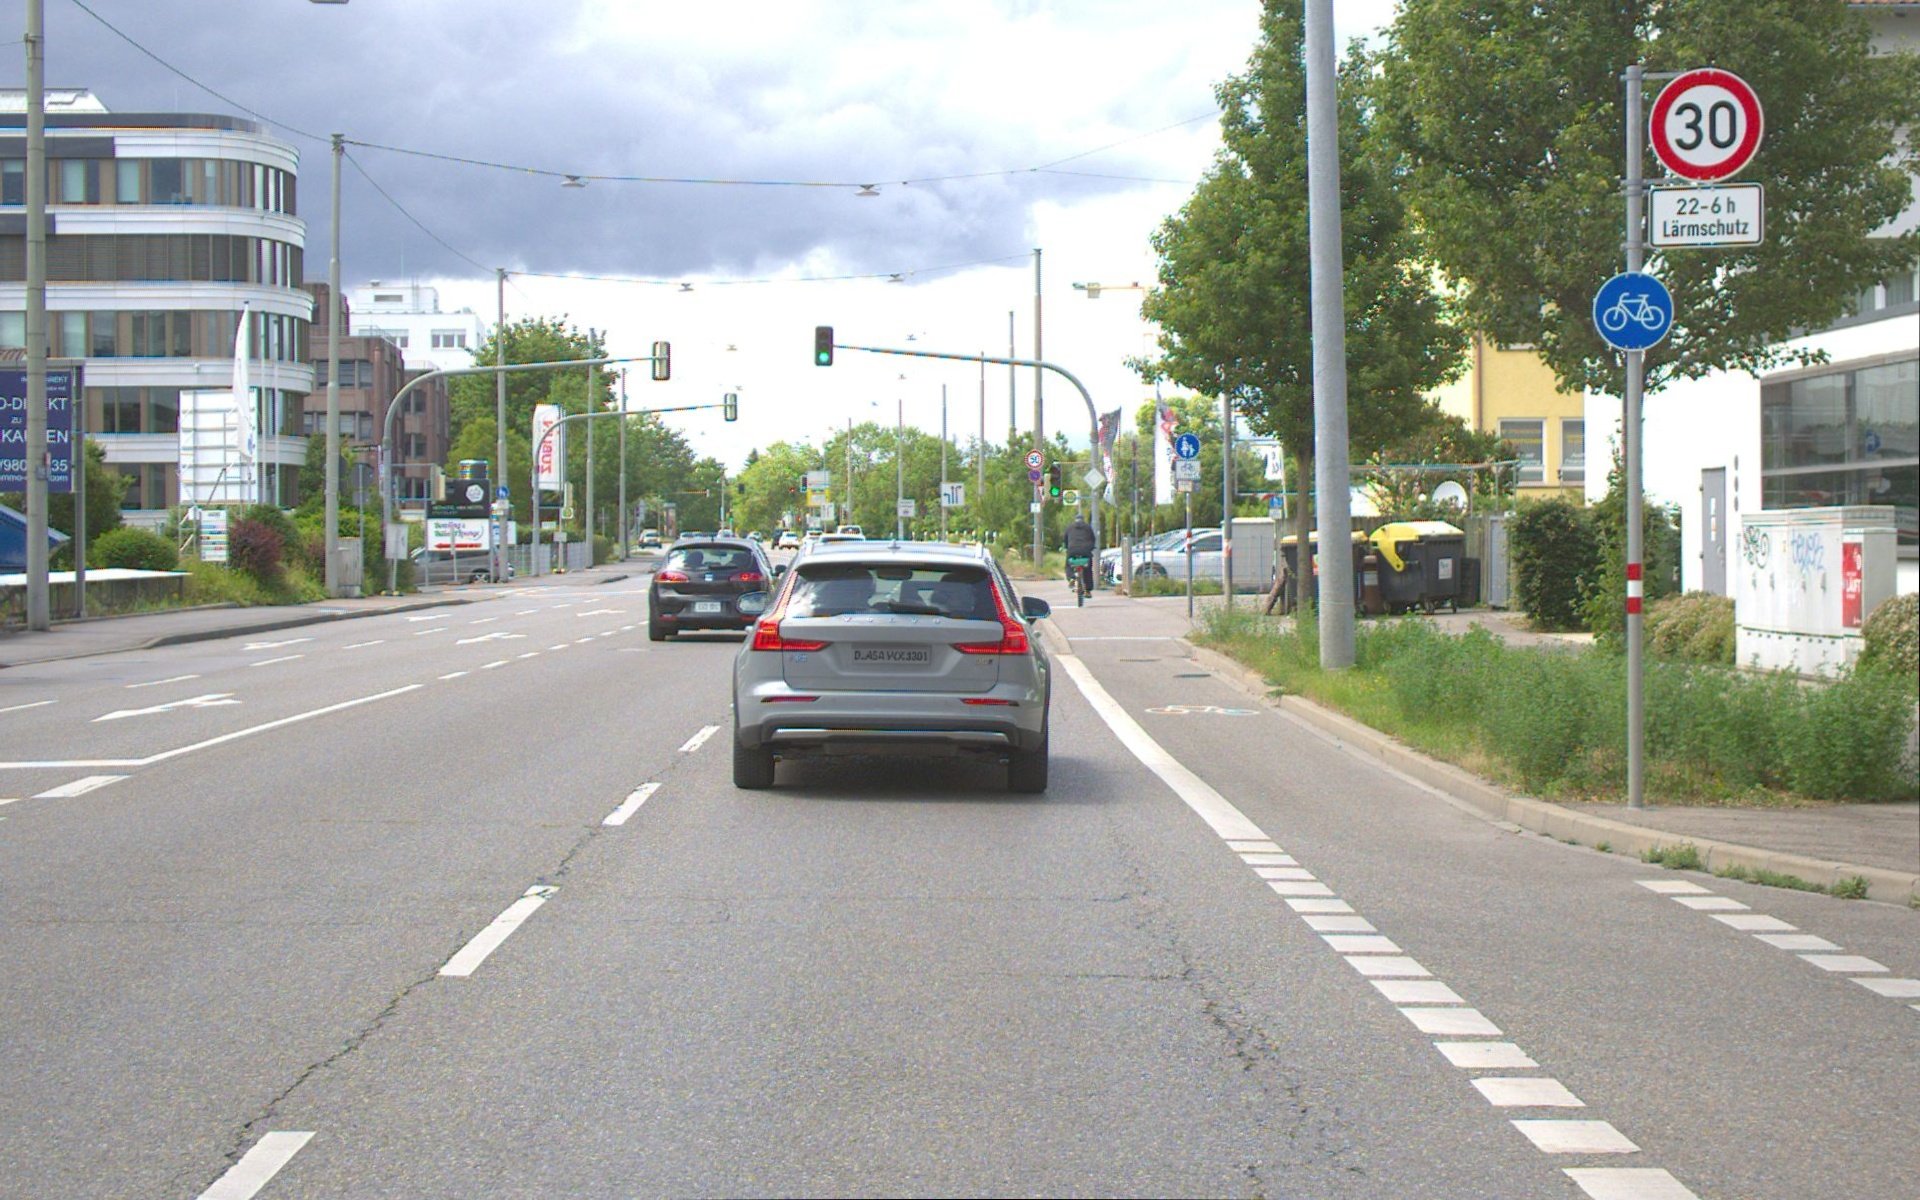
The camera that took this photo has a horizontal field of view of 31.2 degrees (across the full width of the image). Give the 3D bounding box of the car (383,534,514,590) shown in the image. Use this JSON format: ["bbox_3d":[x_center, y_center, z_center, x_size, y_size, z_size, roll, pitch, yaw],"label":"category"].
[{"bbox_3d":[-16.835,-1.259,113.267,4.092,1.393,1.909,-6,2,-7],"label":"car"}]

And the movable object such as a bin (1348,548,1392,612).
[{"bbox_3d":[6.509,-0.317,54.625,0.567,1.023,0.405,0,0,37],"label":"movable object such as a bin"}]

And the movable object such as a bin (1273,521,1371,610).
[{"bbox_3d":[5.648,-0.524,53.519,1.320,1.356,1.250,0,0,16],"label":"movable object such as a bin"}]

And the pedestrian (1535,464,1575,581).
[{"bbox_3d":[9.057,-1.180,52.304,0.507,1.759,0.500,2,0,16],"label":"pedestrian"}]

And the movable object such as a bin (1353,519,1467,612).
[{"bbox_3d":[7.050,-0.524,53.813,1.322,1.430,1.248,0,0,37],"label":"movable object such as a bin"}]

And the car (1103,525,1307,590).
[{"bbox_3d":[5.849,-1.036,82.572,4.696,1.488,2.046,1,2,-1],"label":"car"}]

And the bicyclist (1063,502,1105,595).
[{"bbox_3d":[2.304,-0.959,63.813,0.638,1.670,0.890,-4,1,0],"label":"bicyclist"}]

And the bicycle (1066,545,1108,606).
[{"bbox_3d":[2.345,-0.459,63.629,0.638,1.059,1.977,-4,1,0],"label":"bicycle"}]

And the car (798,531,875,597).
[{"bbox_3d":[-3.324,-0.976,93.069,1.993,1.689,4.000,2,0,-1],"label":"car"}]

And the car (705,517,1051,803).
[{"bbox_3d":[-0.475,0.328,21.287,1.895,1.549,4.000,2,0,0],"label":"car"}]

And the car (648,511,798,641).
[{"bbox_3d":[-3.324,-0.338,48.734,1.993,1.711,4.000,2,0,-3],"label":"car"}]

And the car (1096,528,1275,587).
[{"bbox_3d":[5.763,-1.103,88.339,4.368,1.399,1.989,1,1,-2],"label":"car"}]
